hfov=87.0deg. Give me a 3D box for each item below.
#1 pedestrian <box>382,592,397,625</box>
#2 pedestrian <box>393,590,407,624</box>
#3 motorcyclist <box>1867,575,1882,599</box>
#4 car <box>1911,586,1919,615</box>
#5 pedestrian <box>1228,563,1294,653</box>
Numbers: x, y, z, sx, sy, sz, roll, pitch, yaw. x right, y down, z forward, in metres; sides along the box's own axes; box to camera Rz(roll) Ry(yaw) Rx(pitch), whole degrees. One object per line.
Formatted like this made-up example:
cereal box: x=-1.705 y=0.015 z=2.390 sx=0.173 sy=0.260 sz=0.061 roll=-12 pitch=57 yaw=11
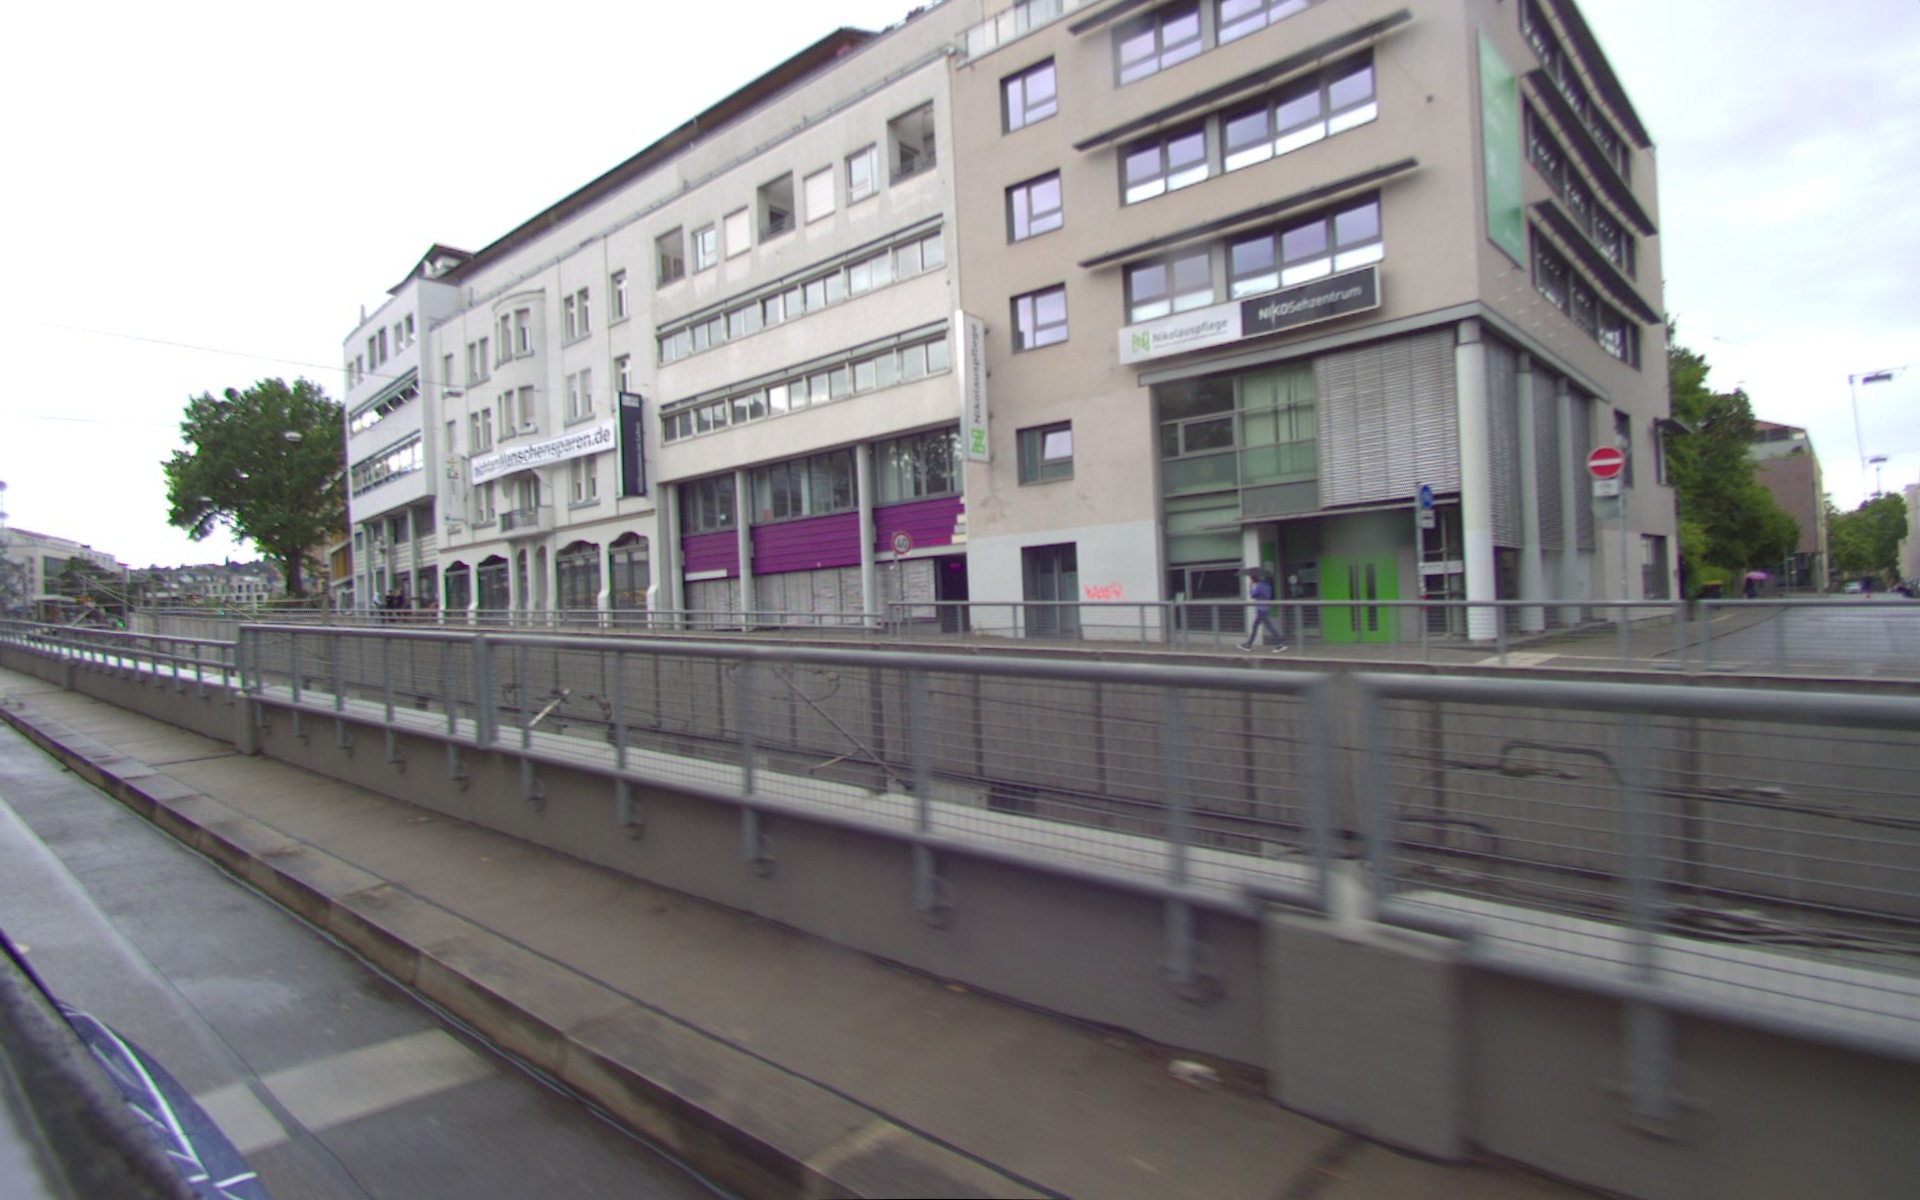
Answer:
pedestrian: x=-31.565 y=0.471 z=55.980 sx=0.469 sy=1.816 sz=0.541 roll=-1 pitch=1 yaw=34
pedestrian: x=-30.552 y=0.381 z=55.228 sx=0.547 sy=1.816 sz=0.463 roll=-1 pitch=1 yaw=44
motorcyclist: x=71.005 y=-1.016 z=78.585 sx=0.860 sy=1.821 sz=1.001 roll=-1 pitch=1 yaw=42
car: x=54.795 y=-0.012 z=56.771 sx=1.796 sy=1.569 sz=3.947 roll=-2 pitch=-1 yaw=40
pedestrian: x=6.423 y=0.159 z=21.571 sx=1.059 sy=1.852 sz=0.848 roll=-1 pitch=1 yaw=41
